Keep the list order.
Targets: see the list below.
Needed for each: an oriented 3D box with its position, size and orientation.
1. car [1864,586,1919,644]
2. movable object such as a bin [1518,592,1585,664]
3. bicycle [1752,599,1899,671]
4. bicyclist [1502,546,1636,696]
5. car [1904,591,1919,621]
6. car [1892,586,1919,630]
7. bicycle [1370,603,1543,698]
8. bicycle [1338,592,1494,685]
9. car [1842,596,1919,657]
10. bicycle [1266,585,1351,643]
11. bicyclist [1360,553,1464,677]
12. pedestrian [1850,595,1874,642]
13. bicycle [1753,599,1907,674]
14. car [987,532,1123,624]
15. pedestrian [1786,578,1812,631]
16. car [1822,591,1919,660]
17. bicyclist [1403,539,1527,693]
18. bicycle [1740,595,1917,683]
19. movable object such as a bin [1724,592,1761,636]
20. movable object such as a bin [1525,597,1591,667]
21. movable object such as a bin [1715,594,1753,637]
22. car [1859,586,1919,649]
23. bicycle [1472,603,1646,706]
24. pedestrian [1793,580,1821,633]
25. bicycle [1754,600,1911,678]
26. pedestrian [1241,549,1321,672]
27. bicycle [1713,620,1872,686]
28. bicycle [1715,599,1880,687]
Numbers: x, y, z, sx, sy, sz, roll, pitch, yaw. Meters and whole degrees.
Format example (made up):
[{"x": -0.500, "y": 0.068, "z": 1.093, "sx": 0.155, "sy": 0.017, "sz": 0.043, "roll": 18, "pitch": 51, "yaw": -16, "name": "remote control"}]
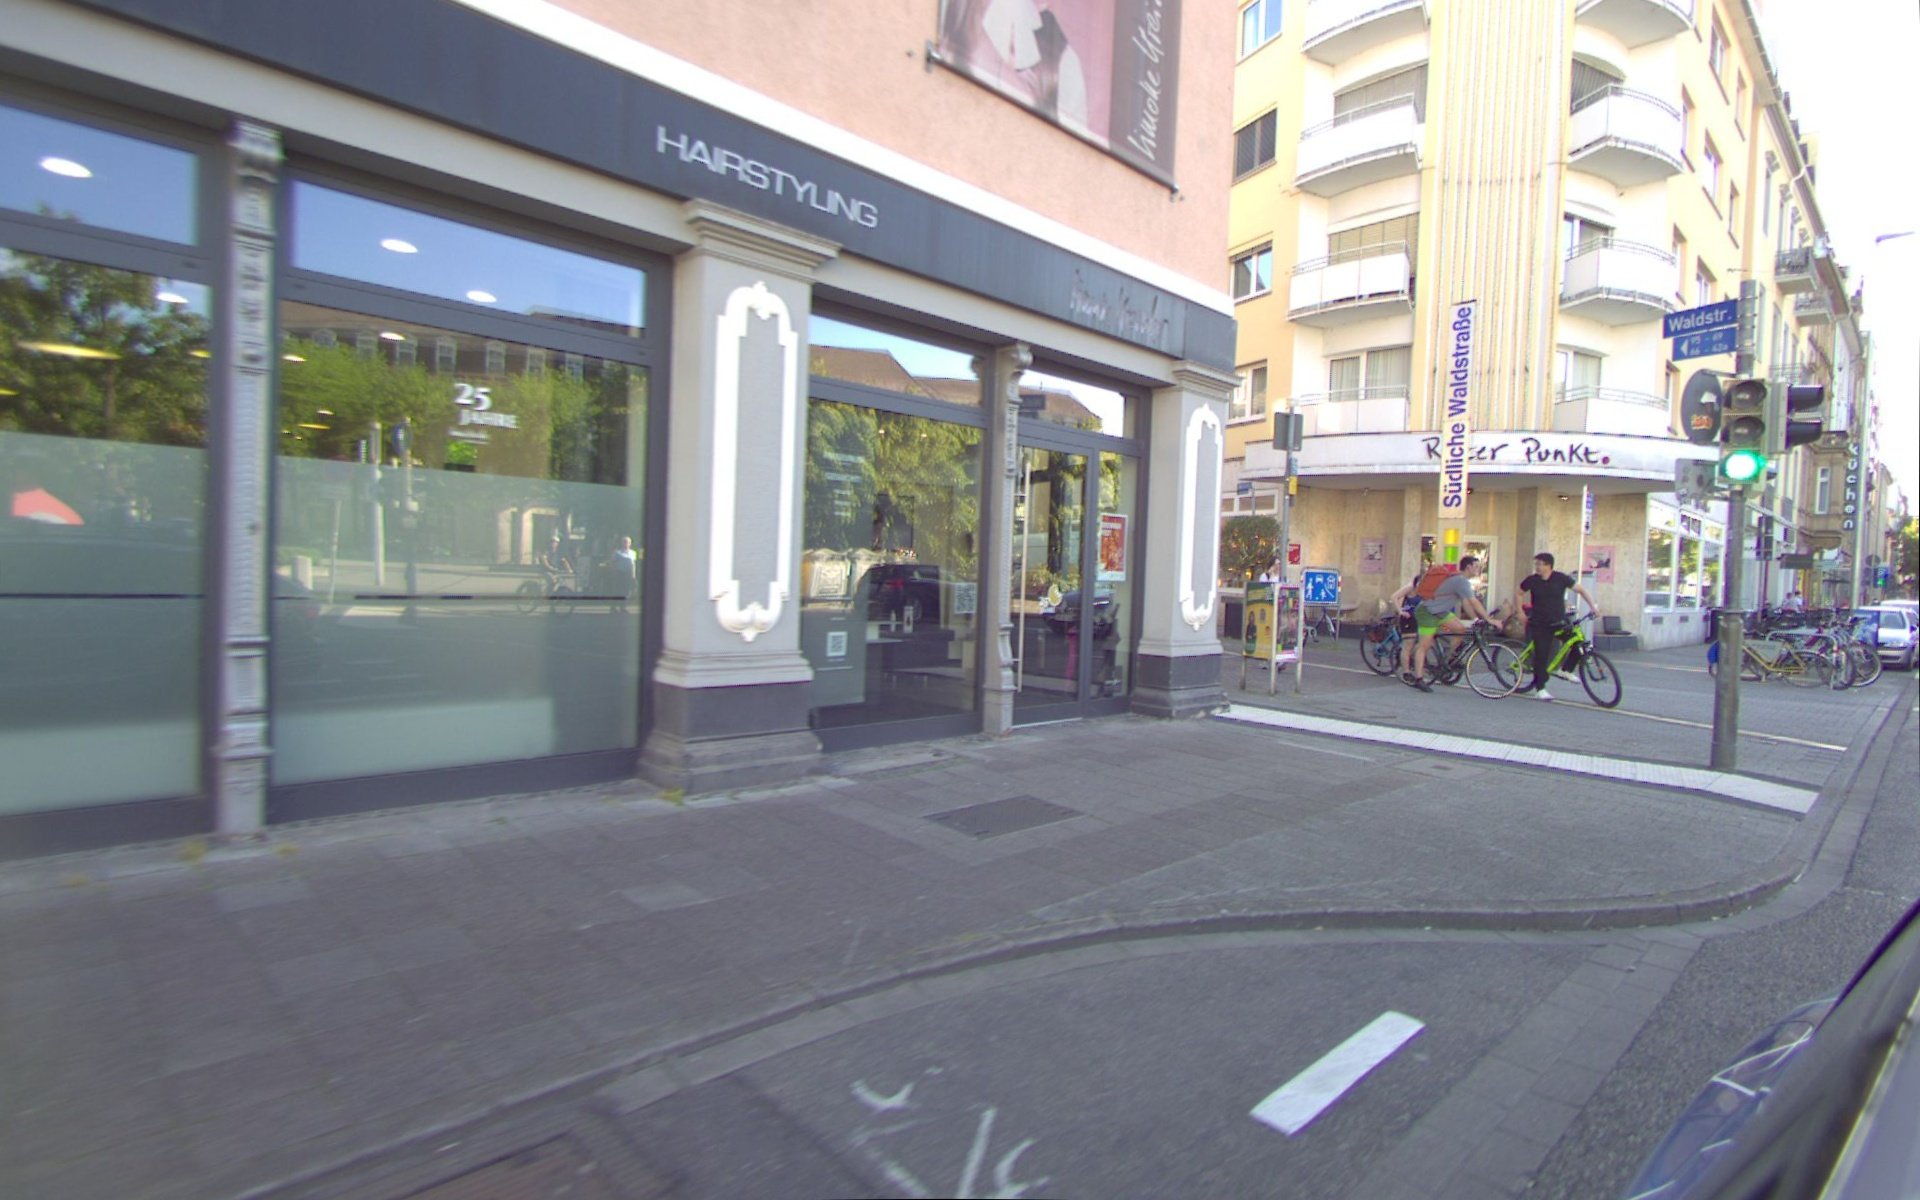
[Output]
[{"x": 33.008, "y": 0.507, "z": 35.254, "sx": 1.991, "sy": 1.901, "sz": 3.943, "roll": 3, "pitch": 2, "yaw": 39, "name": "car"}, {"x": 9.768, "y": 0.443, "z": 16.718, "sx": 0.808, "sy": 1.126, "sz": 0.610, "roll": 2, "pitch": 1, "yaw": 44, "name": "movable object such as a bin"}, {"x": 16.553, "y": 0.642, "z": 19.398, "sx": 0.672, "sy": 1.196, "sz": 2.047, "roll": 1, "pitch": 2, "yaw": -43, "name": "bicycle"}, {"x": 7.272, "y": 0.229, "z": 12.139, "sx": 0.711, "sy": 1.706, "sz": 1.135, "roll": 1, "pitch": 1, "yaw": -17, "name": "bicyclist"}, {"x": 58.007, "y": 0.386, "z": 60.572, "sx": 3.934, "sy": 1.749, "sz": 1.996, "roll": 0, "pitch": 2, "yaw": -44, "name": "car"}, {"x": 46.526, "y": 0.380, "z": 48.927, "sx": 1.994, "sy": 2.038, "sz": 4.125, "roll": 3, "pitch": 2, "yaw": 44, "name": "car"}, {"x": 6.107, "y": 0.587, "z": 12.531, "sx": 0.555, "sy": 1.006, "sz": 1.818, "roll": 1, "pitch": 2, "yaw": -44, "name": "bicycle"}, {"x": 6.120, "y": 0.484, "z": 13.723, "sx": 0.718, "sy": 1.110, "sz": 1.924, "roll": 1, "pitch": 2, "yaw": -23, "name": "bicycle"}, {"x": 24.618, "y": 0.657, "z": 26.829, "sx": 1.736, "sy": 1.443, "sz": 3.938, "roll": 3, "pitch": 2, "yaw": 43, "name": "car"}, {"x": 6.927, "y": 0.279, "z": 20.106, "sx": 1.714, "sy": 1.101, "sz": 0.562, "roll": 1, "pitch": 2, "yaw": -29, "name": "bicycle"}, {"x": 6.098, "y": 0.180, "z": 13.694, "sx": 0.711, "sy": 1.603, "sz": 1.033, "roll": 1, "pitch": 1, "yaw": -22, "name": "bicyclist"}, {"x": 37.884, "y": 0.771, "z": 42.500, "sx": 0.692, "sy": 1.930, "sz": 0.892, "roll": 3, "pitch": 2, "yaw": 42, "name": "pedestrian"}, {"x": 15.909, "y": 0.635, "z": 18.549, "sx": 0.703, "sy": 1.164, "sz": 2.024, "roll": 1, "pitch": 3, "yaw": -43, "name": "bicycle"}, {"x": 2.697, "y": -0.683, "z": 30.041, "sx": 2.026, "sy": 2.499, "sz": 4.706, "roll": -1, "pitch": 2, "yaw": -23, "name": "car"}, {"x": 32.040, "y": 0.180, "z": 38.657, "sx": 0.671, "sy": 1.977, "sz": 0.605, "roll": 3, "pitch": 2, "yaw": 42, "name": "pedestrian"}, {"x": 21.402, "y": 0.545, "z": 23.461, "sx": 3.933, "sy": 1.415, "sz": 1.691, "roll": 0, "pitch": 2, "yaw": -43, "name": "car"}, {"x": 6.180, "y": 0.160, "z": 12.405, "sx": 1.138, "sy": 1.783, "sz": 0.741, "roll": 3, "pitch": 2, "yaw": 43, "name": "bicyclist"}, {"x": 14.222, "y": 0.600, "z": 16.645, "sx": 2.135, "sy": 1.259, "sz": 0.700, "roll": 4, "pitch": 2, "yaw": 42, "name": "bicycle"}, {"x": 23.153, "y": 0.393, "z": 29.927, "sx": 0.945, "sy": 1.254, "sz": 0.702, "roll": 1, "pitch": 2, "yaw": -44, "name": "movable object such as a bin"}, {"x": 10.118, "y": 0.525, "z": 17.122, "sx": 0.808, "sy": 1.126, "sz": 0.610, "roll": 3, "pitch": 2, "yaw": 44, "name": "movable object such as a bin"}, {"x": 21.935, "y": 0.429, "z": 28.684, "sx": 0.945, "sy": 1.175, "sz": 0.702, "roll": 1, "pitch": 2, "yaw": -44, "name": "movable object such as a bin"}, {"x": 28.807, "y": 0.504, "z": 30.816, "sx": 1.994, "sy": 1.756, "sz": 4.133, "roll": 3, "pitch": 2, "yaw": 43, "name": "car"}, {"x": 7.230, "y": 0.619, "z": 12.340, "sx": 0.548, "sy": 1.032, "sz": 1.921, "roll": 1, "pitch": 3, "yaw": -17, "name": "bicycle"}, {"x": 31.735, "y": 0.222, "z": 37.915, "sx": 0.692, "sy": 1.930, "sz": 0.892, "roll": 3, "pitch": 2, "yaw": 42, "name": "pedestrian"}, {"x": 15.086, "y": 0.641, "z": 17.543, "sx": 0.742, "sy": 1.171, "sz": 1.960, "roll": 1, "pitch": 2, "yaw": -43, "name": "bicycle"}, {"x": 4.528, "y": 0.137, "z": 14.309, "sx": 0.750, "sy": 1.679, "sz": 0.817, "roll": 1, "pitch": 1, "yaw": -8, "name": "pedestrian"}, {"x": 12.932, "y": 0.798, "z": 15.778, "sx": 1.840, "sy": 0.841, "sz": 0.731, "roll": 4, "pitch": 2, "yaw": 41, "name": "bicycle"}, {"x": 13.327, "y": 0.639, "z": 16.173, "sx": 1.939, "sy": 1.227, "sz": 0.919, "roll": 4, "pitch": 2, "yaw": 41, "name": "bicycle"}]
